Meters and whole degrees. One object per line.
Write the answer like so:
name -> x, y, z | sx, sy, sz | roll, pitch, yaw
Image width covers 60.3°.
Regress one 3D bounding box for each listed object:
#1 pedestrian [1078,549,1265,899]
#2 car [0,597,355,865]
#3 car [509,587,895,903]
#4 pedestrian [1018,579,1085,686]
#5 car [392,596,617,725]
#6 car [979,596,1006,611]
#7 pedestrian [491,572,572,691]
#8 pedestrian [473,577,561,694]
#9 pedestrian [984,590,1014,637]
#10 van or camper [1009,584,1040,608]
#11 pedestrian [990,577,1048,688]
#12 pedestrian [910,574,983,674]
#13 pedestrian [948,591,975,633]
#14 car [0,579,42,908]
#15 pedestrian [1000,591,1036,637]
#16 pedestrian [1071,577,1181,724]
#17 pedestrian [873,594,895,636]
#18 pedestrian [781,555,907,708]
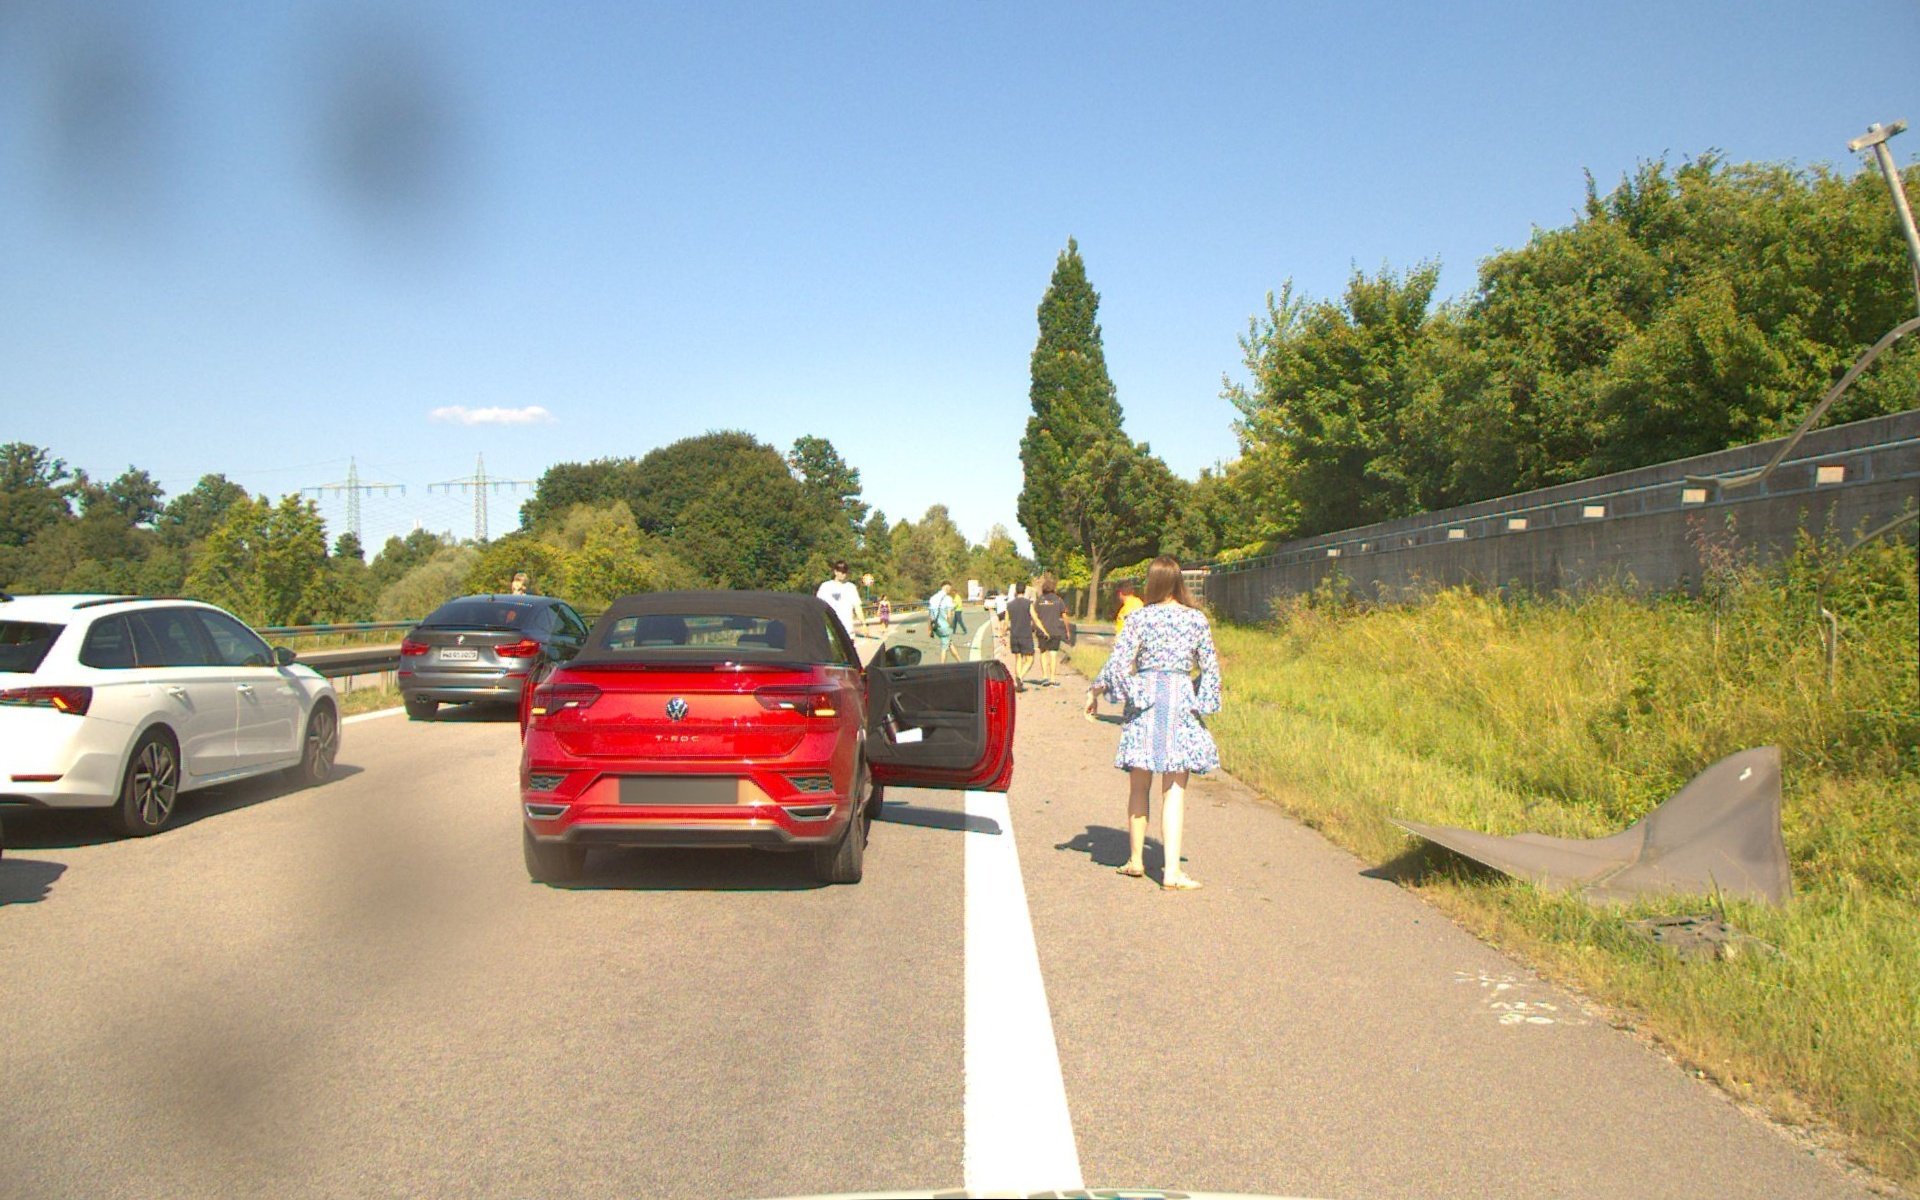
pedestrian -> 1.091, 0.616, 8.792 | 0.871, 1.725, 1.129 | -1, 0, 3
car -> -5.723, 0.721, 11.259 | 1.660, 1.467, 4.210 | 0, 0, 0
car -> -1.331, 0.696, 10.097 | 1.697, 1.513, 4.210 | 0, 0, 0
pedestrian -> 1.576, 0.547, 28.405 | 0.813, 1.790, 0.810 | 0, -1, 40
car -> -5.648, 0.685, 21.053 | 1.660, 1.451, 4.333 | 0, 0, 0
car -> 3.336, 0.389, 168.835 | 1.696, 1.513, 4.213 | 0, 0, 16
pedestrian -> -7.094, 0.512, 27.439 | 1.043, 1.916, 1.093 | -1, 0, -1
pedestrian -> -7.027, 0.548, 26.267 | 1.092, 1.794, 1.044 | -1, 0, -1
pedestrian -> 1.471, 0.508, 62.552 | 1.091, 1.719, 0.973 | 1, -1, 0
van or camper -> 6.327, -0.392, 162.060 | 1.951, 2.356, 4.472 | 0, 0, 17
pedestrian -> 0.939, 0.517, 26.605 | 0.876, 1.755, 0.754 | 1, -1, -1
pedestrian -> -0.253, 0.447, 30.919 | 1.071, 1.820, 1.102 | 1, -1, -18
pedestrian -> 0.083, 0.506, 68.385 | 0.992, 1.719, 1.060 | 1, -1, 6
car -> -5.046, 0.682, 5.753 | 1.755, 1.519, 4.484 | -1, 0, -9
pedestrian -> 2.167, 0.526, 62.297 | 0.995, 1.719, 0.990 | 1, -1, -28
pedestrian -> 1.977, 0.584, 19.637 | 1.247, 1.682, 0.961 | -1, 0, 7
pedestrian -> -3.140, 0.632, 68.191 | 0.775, 1.719, 0.793 | 1, -1, 5
pedestrian -> -1.516, 0.398, 21.764 | 1.229, 1.946, 1.107 | -1, 0, 30
